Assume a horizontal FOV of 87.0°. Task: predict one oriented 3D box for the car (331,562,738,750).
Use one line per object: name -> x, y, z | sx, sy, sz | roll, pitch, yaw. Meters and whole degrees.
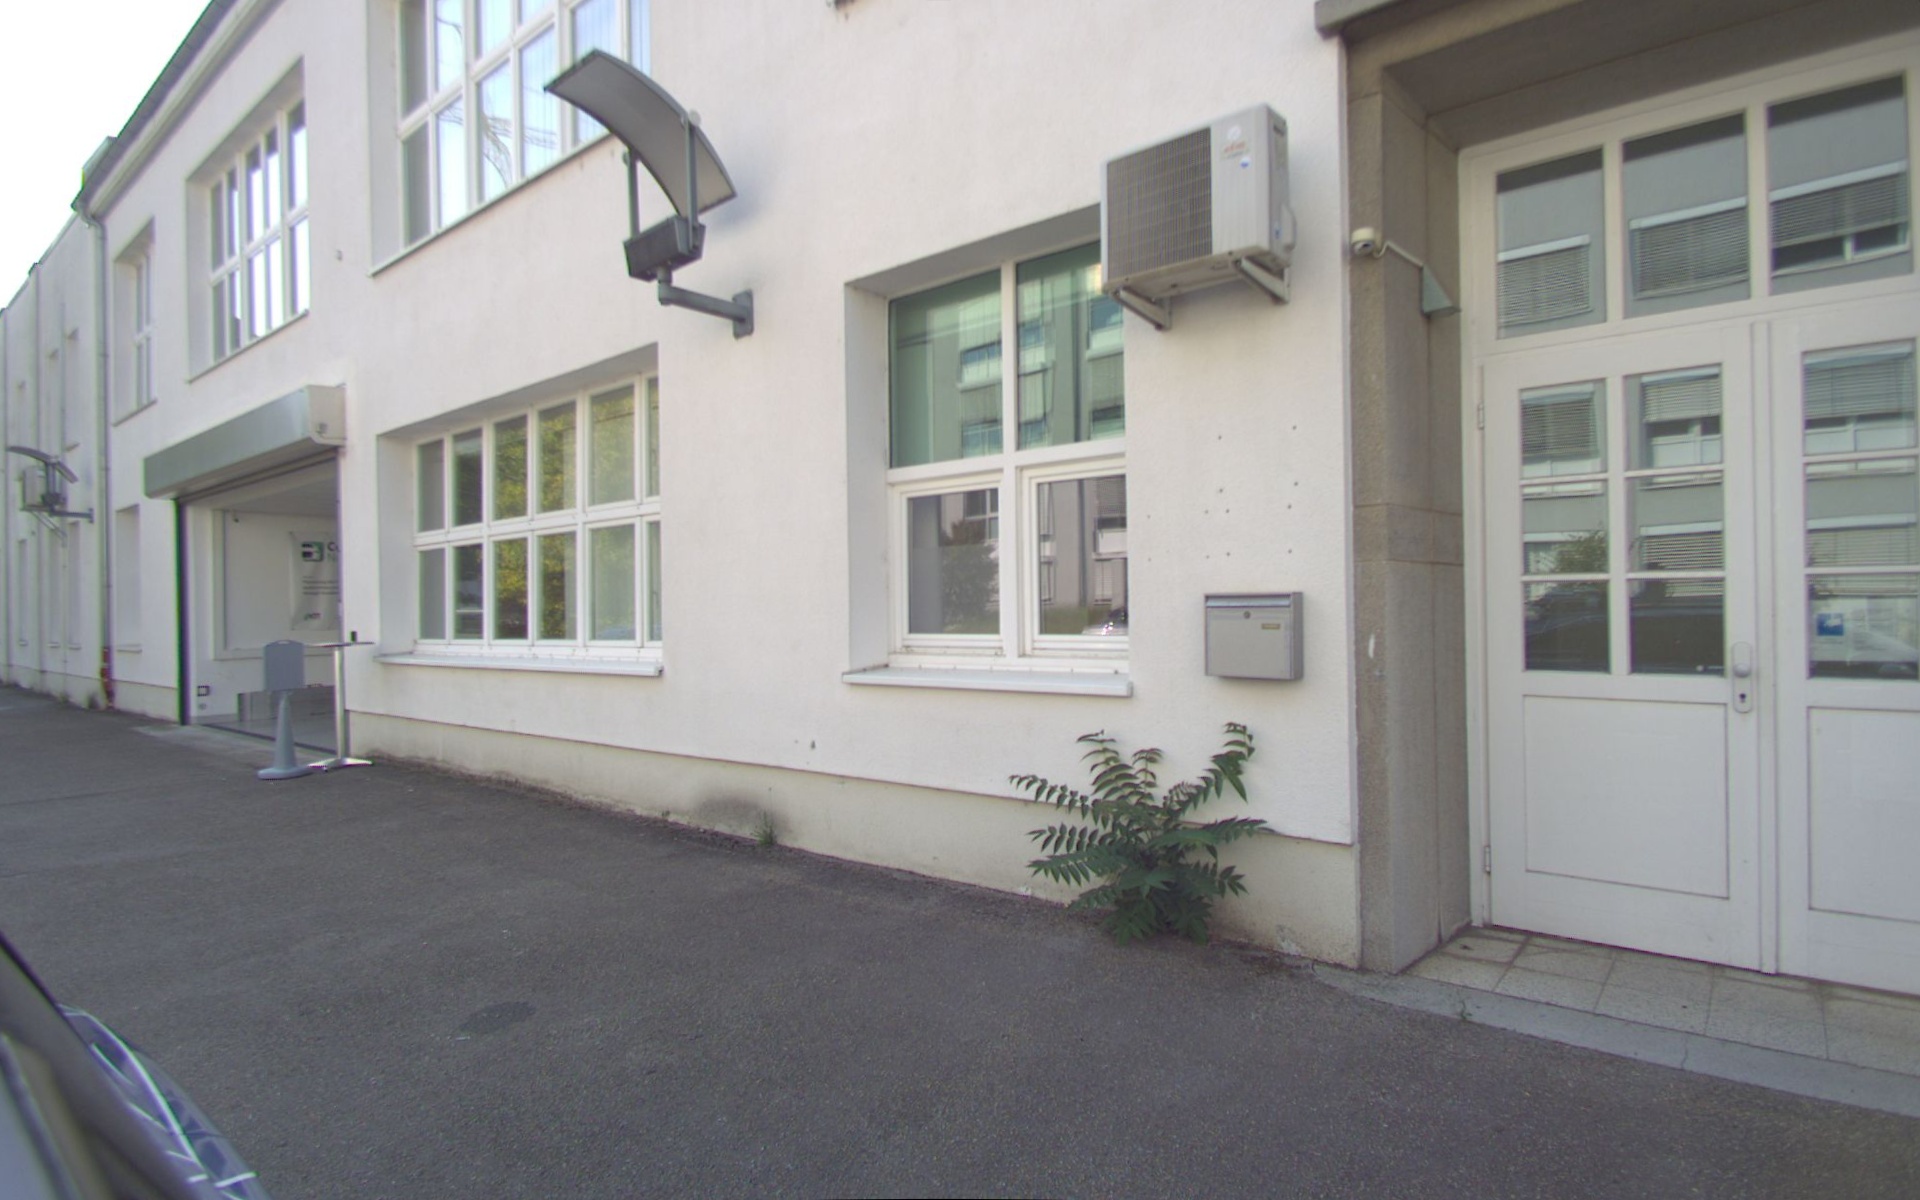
car -> -5.581, 0.594, 13.821 | 2.054, 2.108, 4.699 | -1, 0, 40
